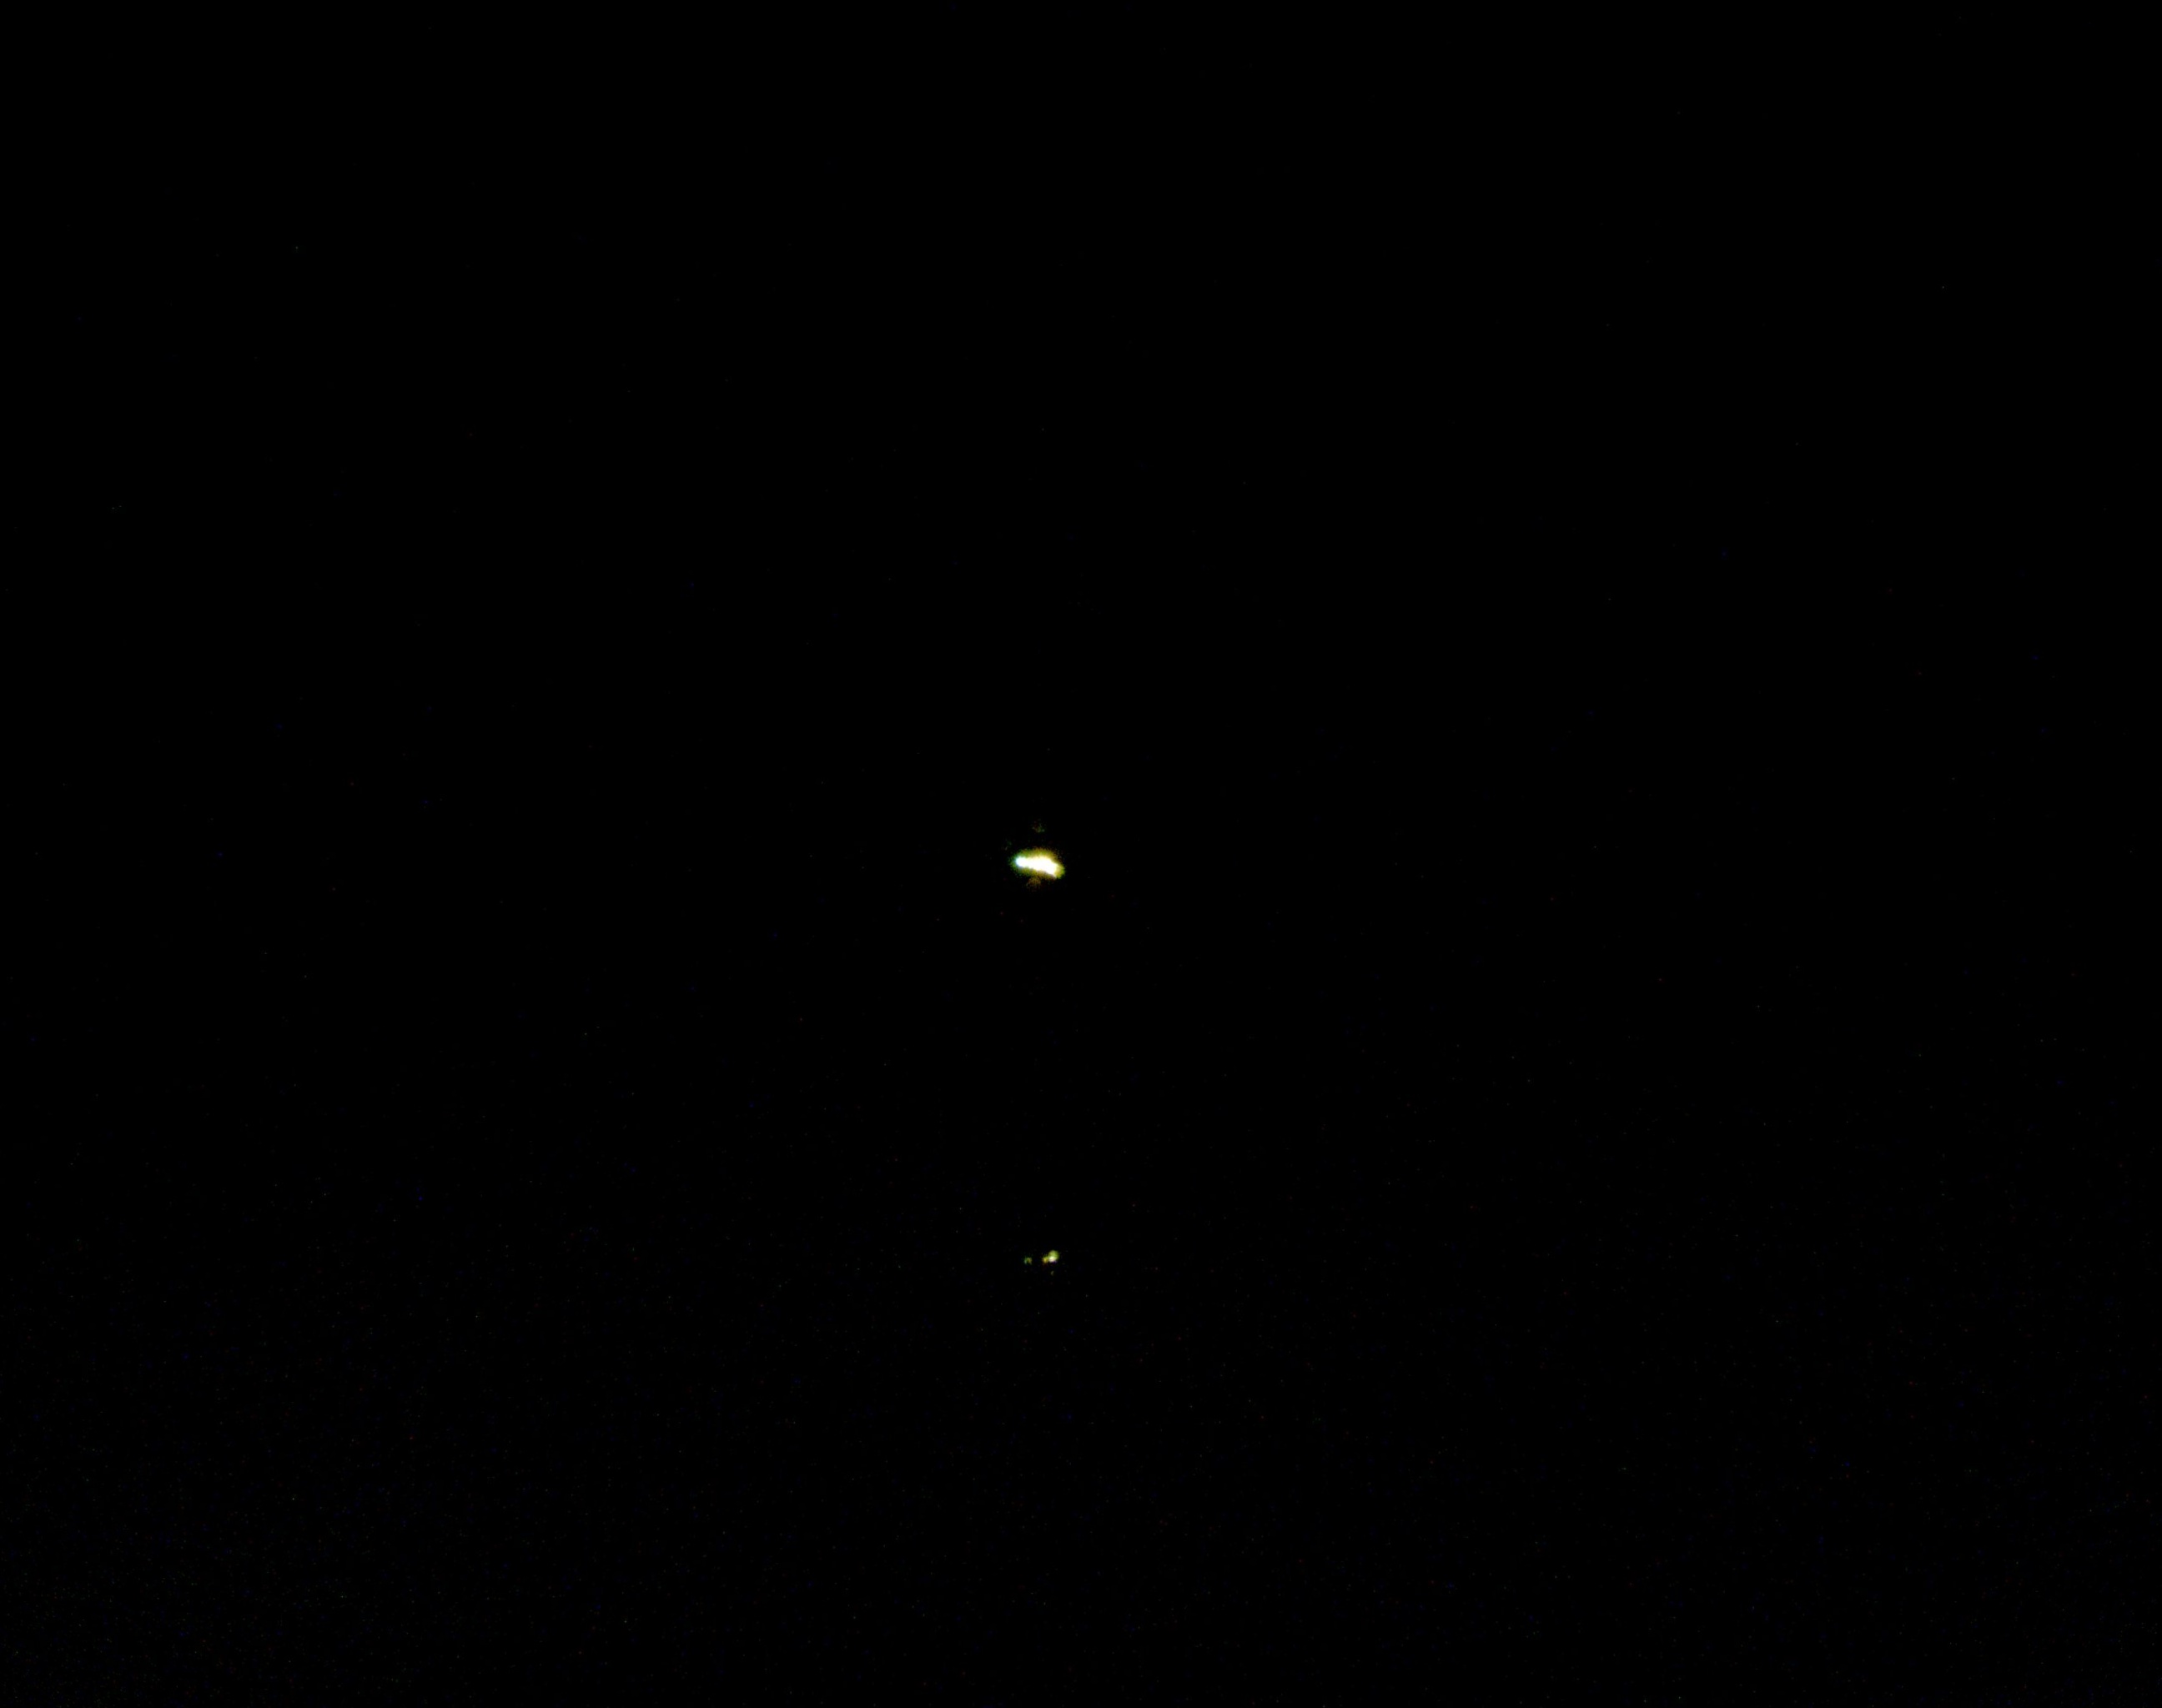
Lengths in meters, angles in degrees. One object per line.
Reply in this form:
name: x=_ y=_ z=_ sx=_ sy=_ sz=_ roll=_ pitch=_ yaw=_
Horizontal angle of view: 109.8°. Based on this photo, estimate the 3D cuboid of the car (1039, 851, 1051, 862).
car: x=-7.075 y=0.416 z=148.383 sx=2.000 sy=2.002 sz=3.996 roll=0 pitch=1 yaw=-7
